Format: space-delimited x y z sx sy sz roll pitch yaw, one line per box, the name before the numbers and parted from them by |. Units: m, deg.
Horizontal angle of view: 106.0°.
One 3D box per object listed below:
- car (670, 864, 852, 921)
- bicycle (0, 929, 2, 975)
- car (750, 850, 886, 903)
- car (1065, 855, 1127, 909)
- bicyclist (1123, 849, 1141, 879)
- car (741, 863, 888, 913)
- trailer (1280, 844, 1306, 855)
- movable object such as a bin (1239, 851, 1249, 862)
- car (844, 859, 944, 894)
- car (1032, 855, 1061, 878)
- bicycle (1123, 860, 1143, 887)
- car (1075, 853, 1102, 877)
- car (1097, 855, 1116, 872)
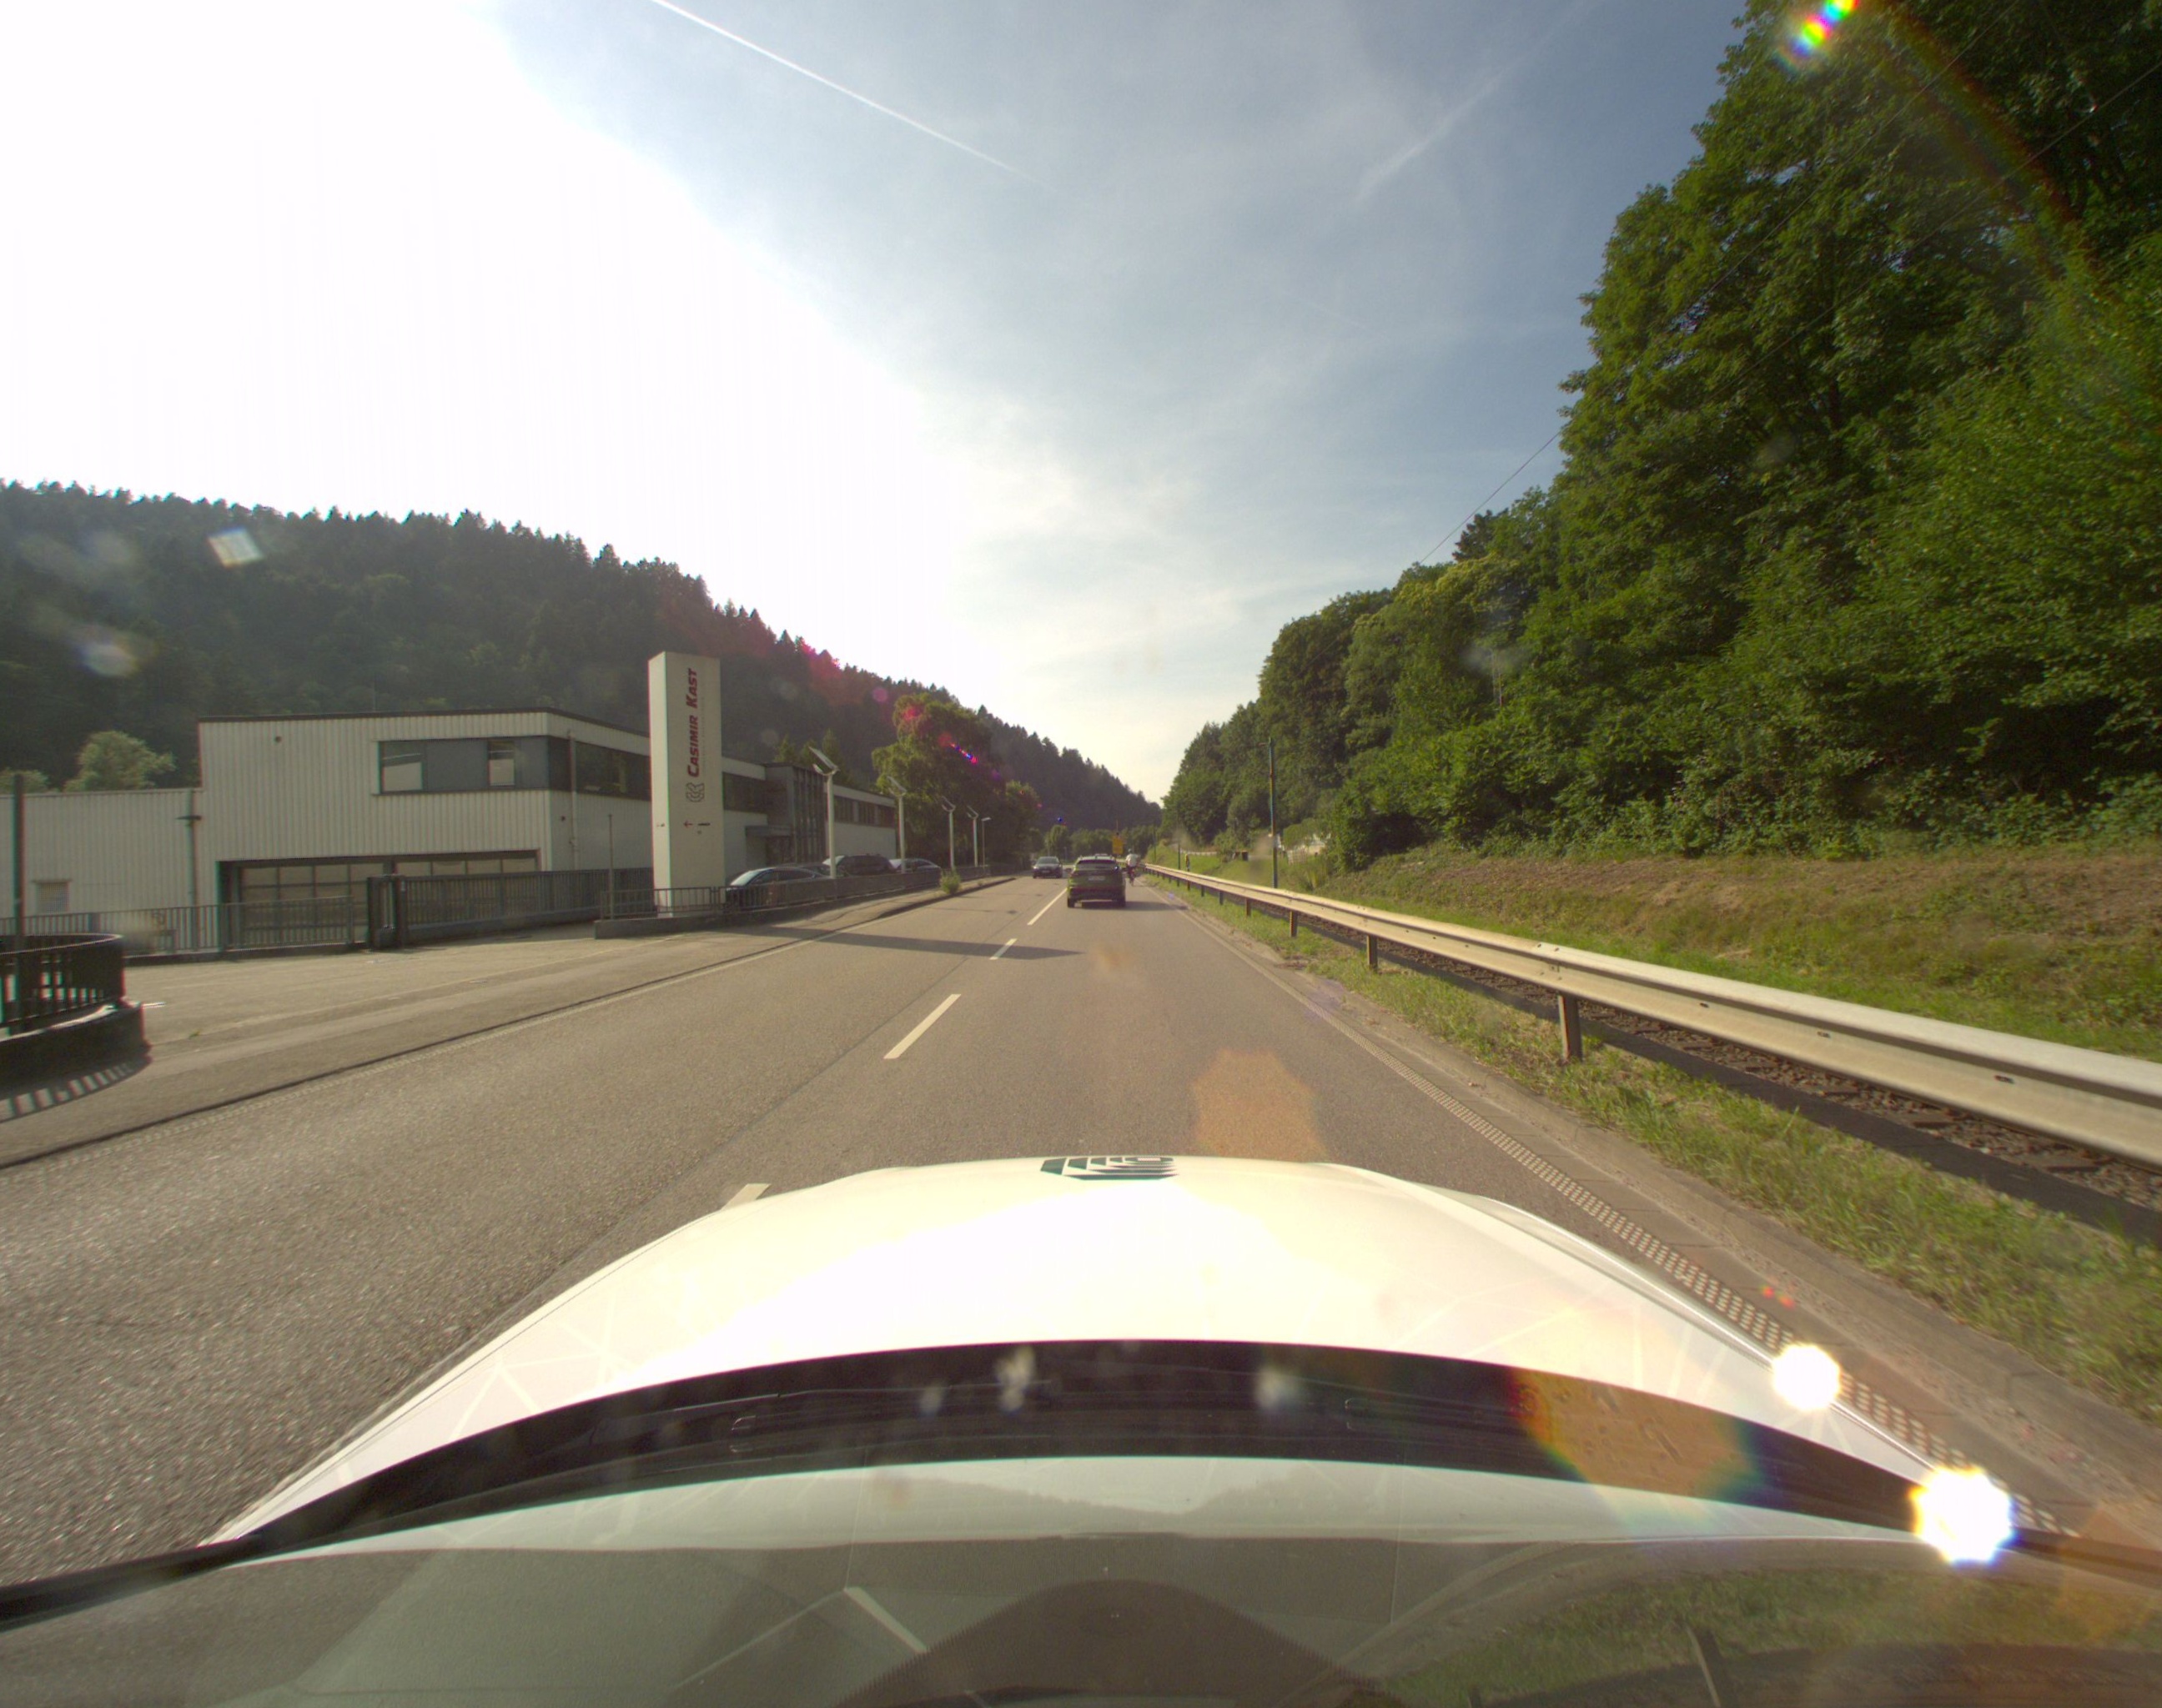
car | -9.036 1.040 23.445 1.690 1.375 4.764 -2 0 31
bicycle | -23.749 2.121 17.143 1.672 0.978 0.287 -3 0 1
car | -10.003 0.819 31.327 1.974 1.741 4.721 -2 1 34
car | 0.459 0.799 25.037 1.733 1.508 4.000 -1 0 0
bicyclist | 2.481 0.487 39.701 0.779 1.412 0.675 -1 0 -1
car | -8.933 1.092 27.706 1.690 1.439 4.764 -2 0 31
trailer | 24.450 -0.482 94.149 2.060 1.192 3.713 0 -1 -1
movable object such as a bin | 16.063 0.254 80.113 0.850 1.107 0.936 -1 0 7
car | -8.785 1.032 38.764 1.975 1.562 4.881 -1 -1 26
car | -2.321 0.817 55.093 1.671 1.485 4.247 1 0 1
bicycle | 2.499 0.943 39.604 0.809 1.250 2.122 -1 0 0
car | 0.521 0.730 56.233 1.733 1.602 4.000 -1 0 0
car | 2.508 0.891 81.322 1.733 1.602 4.000 -2 0 0
